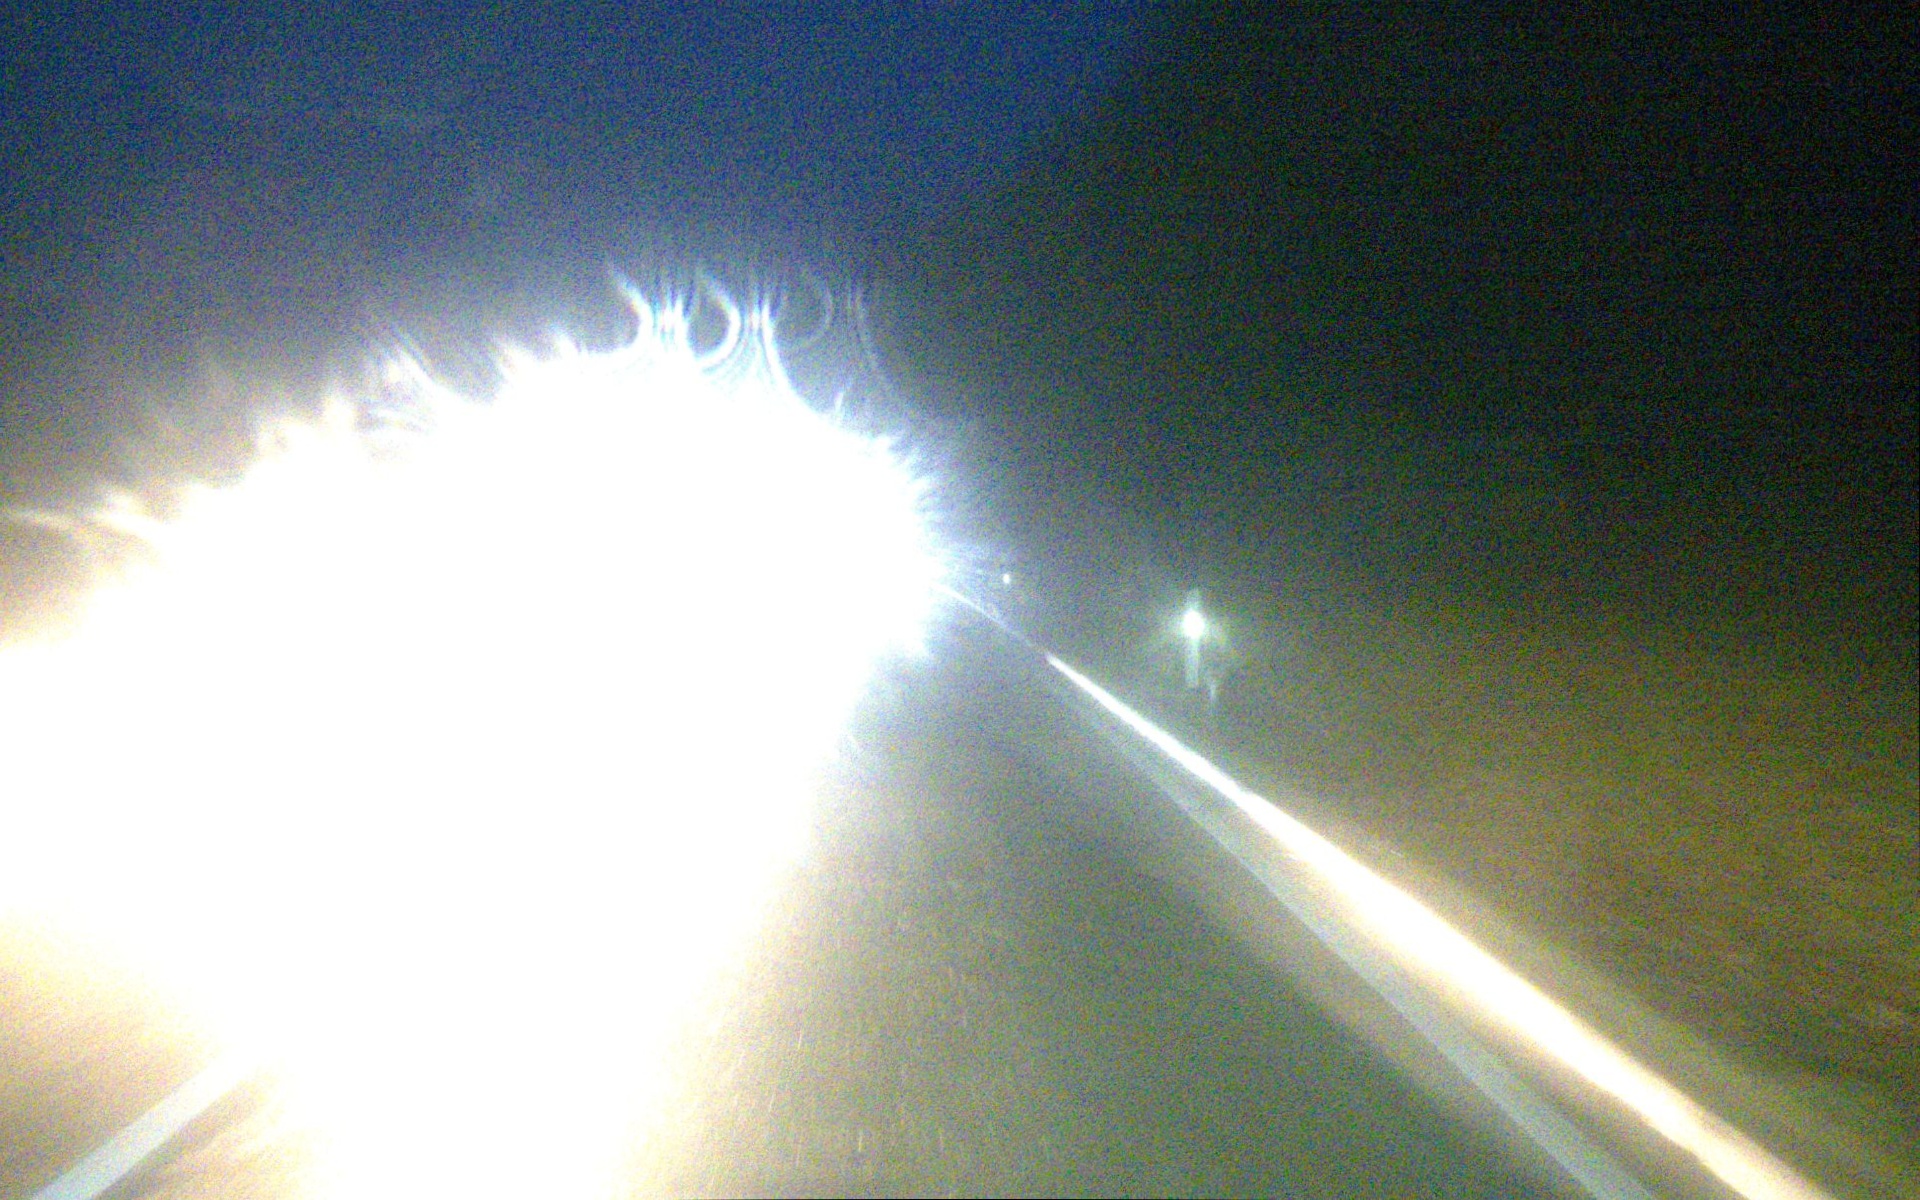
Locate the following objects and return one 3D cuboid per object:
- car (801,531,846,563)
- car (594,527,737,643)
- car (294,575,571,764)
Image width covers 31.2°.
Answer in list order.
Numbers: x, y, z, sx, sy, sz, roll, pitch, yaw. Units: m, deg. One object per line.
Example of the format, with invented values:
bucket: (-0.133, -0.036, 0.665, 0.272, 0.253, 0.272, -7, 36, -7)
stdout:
car: (-6.418, -2.488, 162.294, 1.993, 1.443, 4.430, 1, 1, -1)
car: (-4.771, -0.260, 56.237, 1.993, 1.786, 4.246, 1, 1, -1)
car: (-4.506, 0.550, 29.915, 1.843, 1.475, 4.249, 1, 1, -1)
